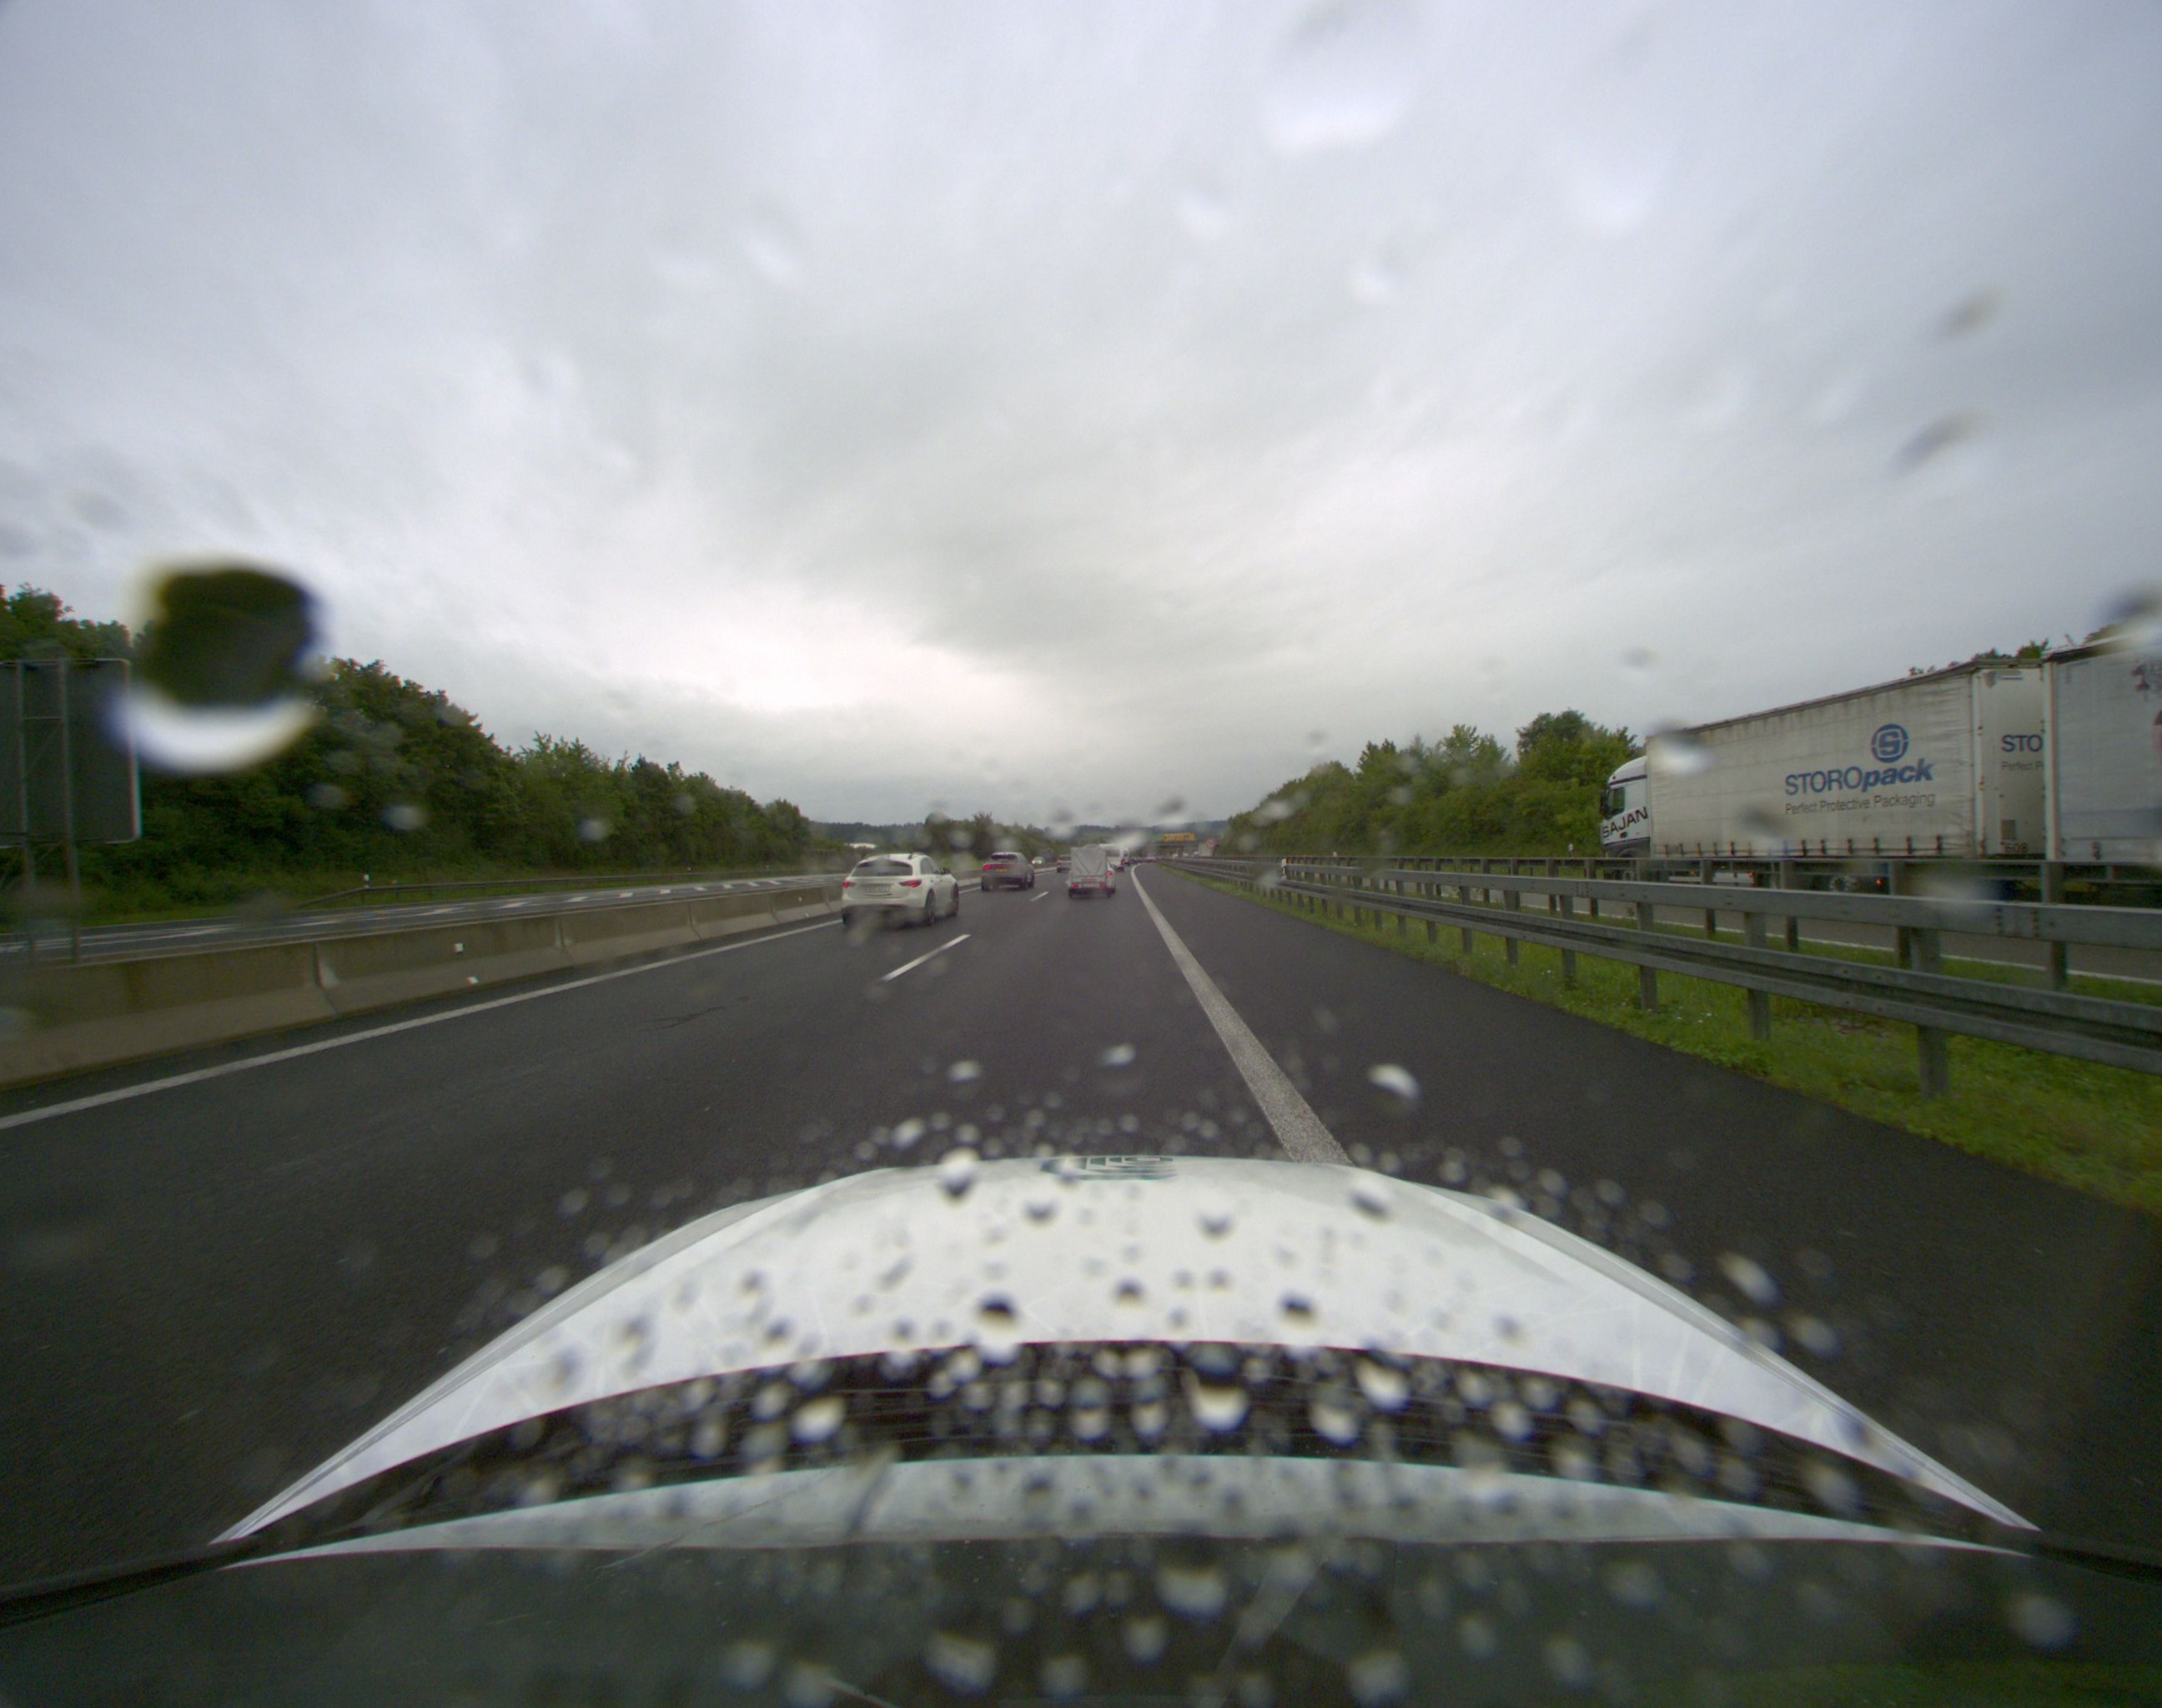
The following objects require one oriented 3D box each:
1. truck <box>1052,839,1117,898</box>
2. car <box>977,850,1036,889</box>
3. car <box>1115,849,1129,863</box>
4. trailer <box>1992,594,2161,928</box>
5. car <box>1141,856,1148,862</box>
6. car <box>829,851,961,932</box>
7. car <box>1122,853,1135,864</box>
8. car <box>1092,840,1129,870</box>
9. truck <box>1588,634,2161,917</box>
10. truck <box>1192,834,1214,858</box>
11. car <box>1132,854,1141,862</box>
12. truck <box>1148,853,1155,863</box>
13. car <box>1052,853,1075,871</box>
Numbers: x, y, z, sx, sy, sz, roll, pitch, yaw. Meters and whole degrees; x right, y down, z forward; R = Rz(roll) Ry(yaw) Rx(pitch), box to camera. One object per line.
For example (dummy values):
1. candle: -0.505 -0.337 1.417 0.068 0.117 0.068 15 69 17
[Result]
1. truck: 0.286 0.497 31.754 2.010 1.985 7.221 -1 0 4
2. car: -3.390 0.697 37.808 2.166 1.631 4.501 -1 0 1
3. car: 5.998 0.255 119.746 1.986 2.036 4.152 0 0 1
4. trailer: 15.521 -1.233 7.194 3.424 4.289 10.458 -1 0 2
5. car: 18.164 1.412 232.461 1.983 1.750 4.007 -1 0 6
6. car: -4.245 0.793 19.357 1.969 1.639 4.501 -1 0 1
7. car: 8.298 0.808 142.761 1.986 1.750 4.001 0 0 1
8. car: 2.785 0.079 76.191 3.002 2.616 6.084 -2 0 6
9. truck: 15.890 -1.225 17.728 3.424 4.289 10.423 -1 0 2
10. truck: 26.774 -1.670 178.764 4.074 5.103 10.478 -1 0 5
11. car: 13.457 0.974 196.995 1.984 1.750 4.005 -1 0 5
12. truck: 22.218 1.156 256.535 2.266 3.082 7.258 -1 0 6
13. car: -1.626 0.696 76.995 1.893 1.613 4.020 -1 0 3
